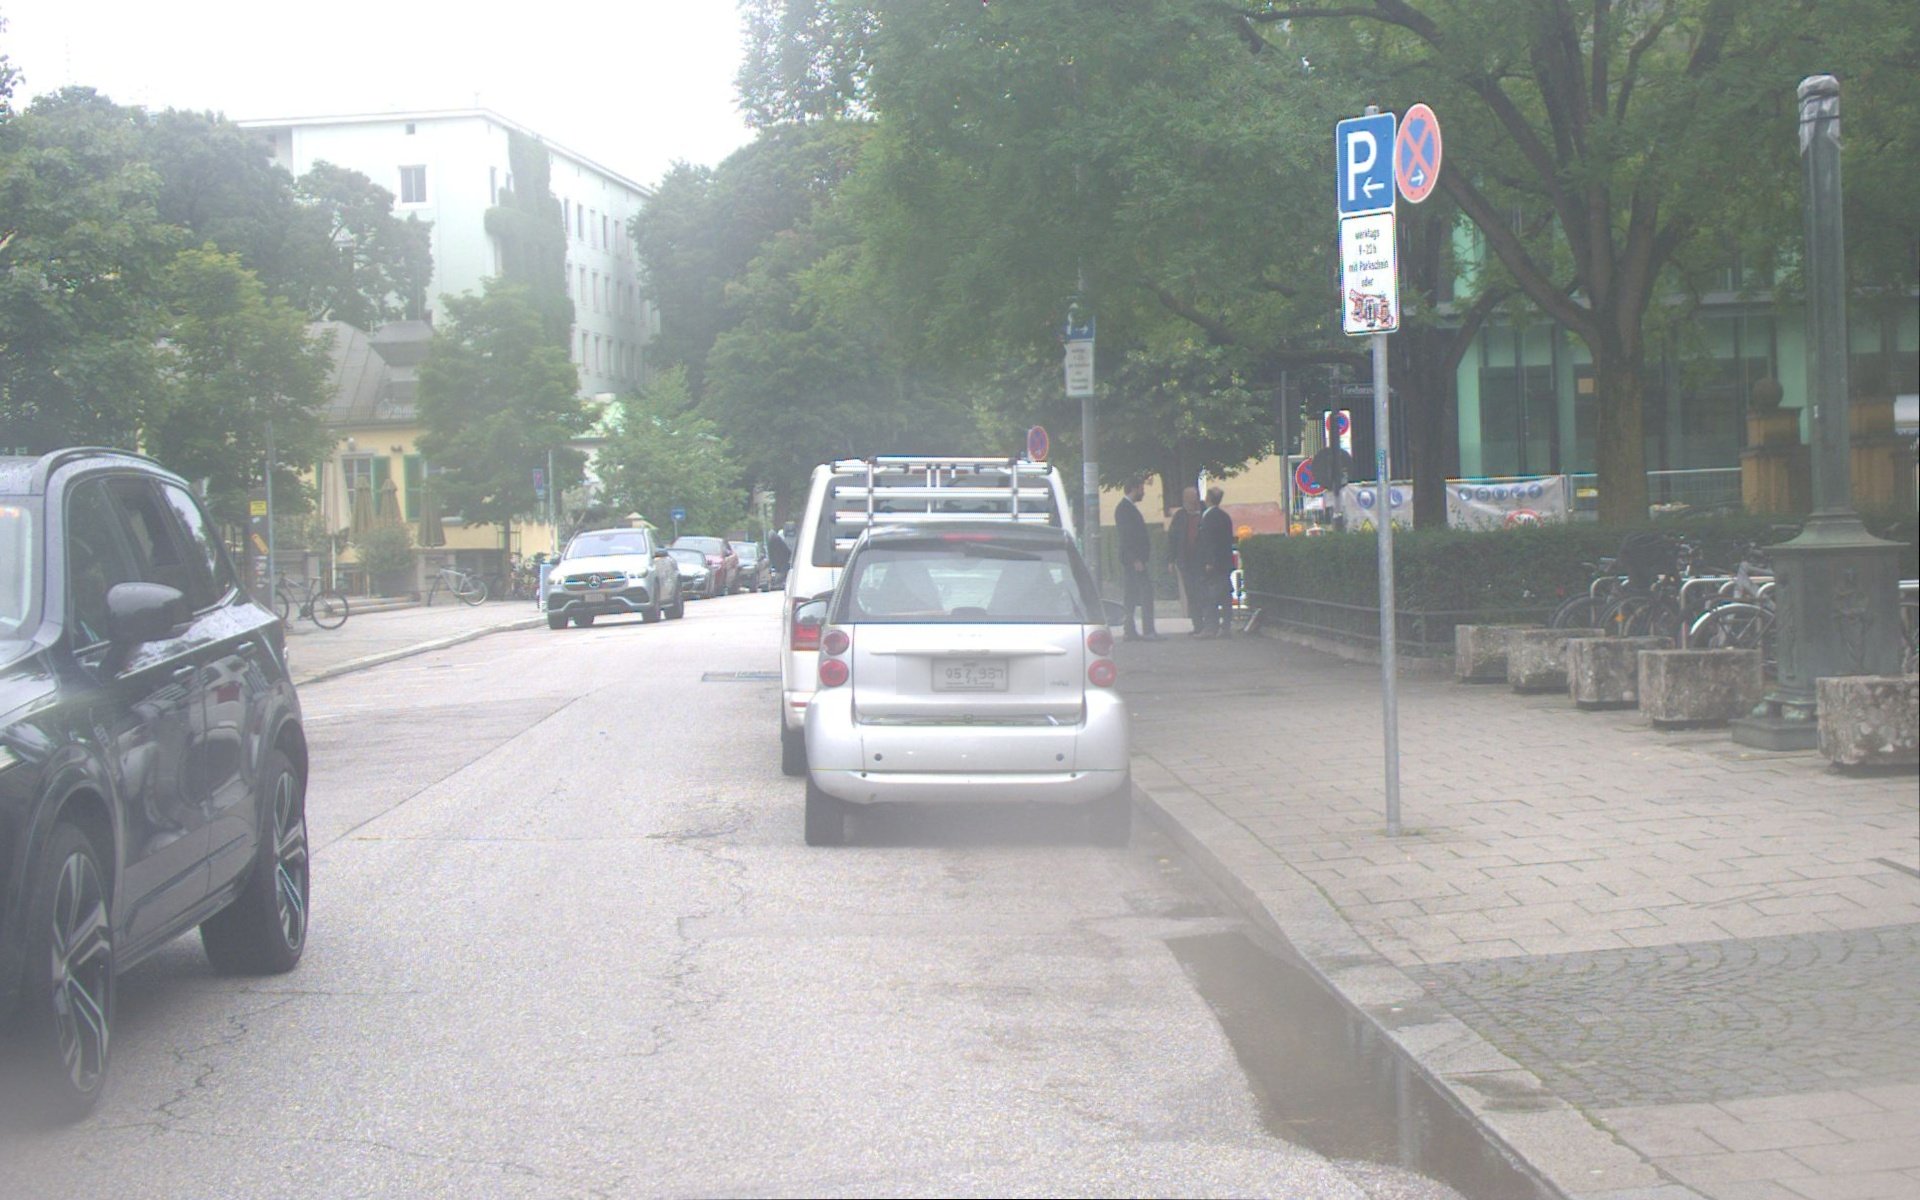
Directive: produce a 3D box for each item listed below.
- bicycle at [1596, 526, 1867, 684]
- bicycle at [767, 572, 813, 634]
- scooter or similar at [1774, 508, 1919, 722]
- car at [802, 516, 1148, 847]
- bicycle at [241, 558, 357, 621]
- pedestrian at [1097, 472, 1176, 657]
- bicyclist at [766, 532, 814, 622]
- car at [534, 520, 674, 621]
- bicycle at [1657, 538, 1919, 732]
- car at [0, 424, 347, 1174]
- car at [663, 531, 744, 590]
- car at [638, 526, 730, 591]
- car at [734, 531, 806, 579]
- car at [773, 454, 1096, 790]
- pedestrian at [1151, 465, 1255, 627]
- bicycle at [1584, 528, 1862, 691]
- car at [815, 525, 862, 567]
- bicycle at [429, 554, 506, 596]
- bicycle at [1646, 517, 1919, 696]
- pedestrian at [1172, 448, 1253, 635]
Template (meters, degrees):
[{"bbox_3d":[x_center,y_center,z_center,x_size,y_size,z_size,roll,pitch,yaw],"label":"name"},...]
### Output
[{"bbox_3d":[5.949,0.030,26.554,1.931,1.109,0.471,-3,1,0],"label":"bicycle"},{"bbox_3d":[-2.662,0.038,53.835,0.626,0.951,1.860,1,0,-1],"label":"bicycle"},{"bbox_3d":[5.395,0.085,20.194,1.011,1.218,0.536,-2,2,43],"label":"scooter or similar"},{"bbox_3d":[0.030,0.349,17.512,1.605,1.540,2.934,0,1,-2],"label":"car"},{"bbox_3d":[-11.672,-0.185,60.727,1.930,1.095,0.615,0,1,2],"label":"bicycle"},{"bbox_3d":[2.072,-0.421,40.519,0.742,2.127,1.056,-3,1,-2],"label":"pedestrian"},{"bbox_3d":[-2.657,-0.356,53.788,0.704,1.388,0.868,1,0,0],"label":"bicyclist"},{"bbox_3d":[-6.440,-0.565,62.629,2.024,1.683,4.678,-3,1,0],"label":"car"},{"bbox_3d":[5.396,0.204,21.489,1.931,1.109,0.471,-3,1,-4],"label":"bicycle"},{"bbox_3d":[-3.207,0.453,10.037,1.960,1.676,4.912,-4,1,-1],"label":"car"},{"bbox_3d":[-7.278,-1.119,97.889,1.993,1.597,4.000,-1,0,0],"label":"car"},{"bbox_3d":[-7.420,-1.143,92.801,1.993,1.643,4.655,-2,1,1],"label":"car"},{"bbox_3d":[-6.372,-1.526,115.759,1.994,1.481,4.000,-2,1,3],"label":"car"},{"bbox_3d":[-0.277,0.076,22.603,1.845,1.926,5.273,1,1,-3],"label":"car"},{"bbox_3d":[2.932,-0.652,41.457,0.744,1.901,1.054,-2,1,34],"label":"pedestrian"},{"bbox_3d":[5.706,0.064,25.759,1.931,1.109,0.471,-3,1,1],"label":"bicycle"},{"bbox_3d":[-5.183,-2.328,147.126,1.810,1.677,4.000,-2,1,1],"label":"car"},{"bbox_3d":[-11.430,-0.578,79.785,1.613,0.922,0.651,-2,0,-26],"label":"bicycle"},{"bbox_3d":[5.715,0.039,23.445,1.931,1.109,0.471,-3,1,1],"label":"bicycle"},{"bbox_3d":[2.943,-0.681,40.199,0.742,2.127,1.056,-3,1,-2],"label":"pedestrian"}]
